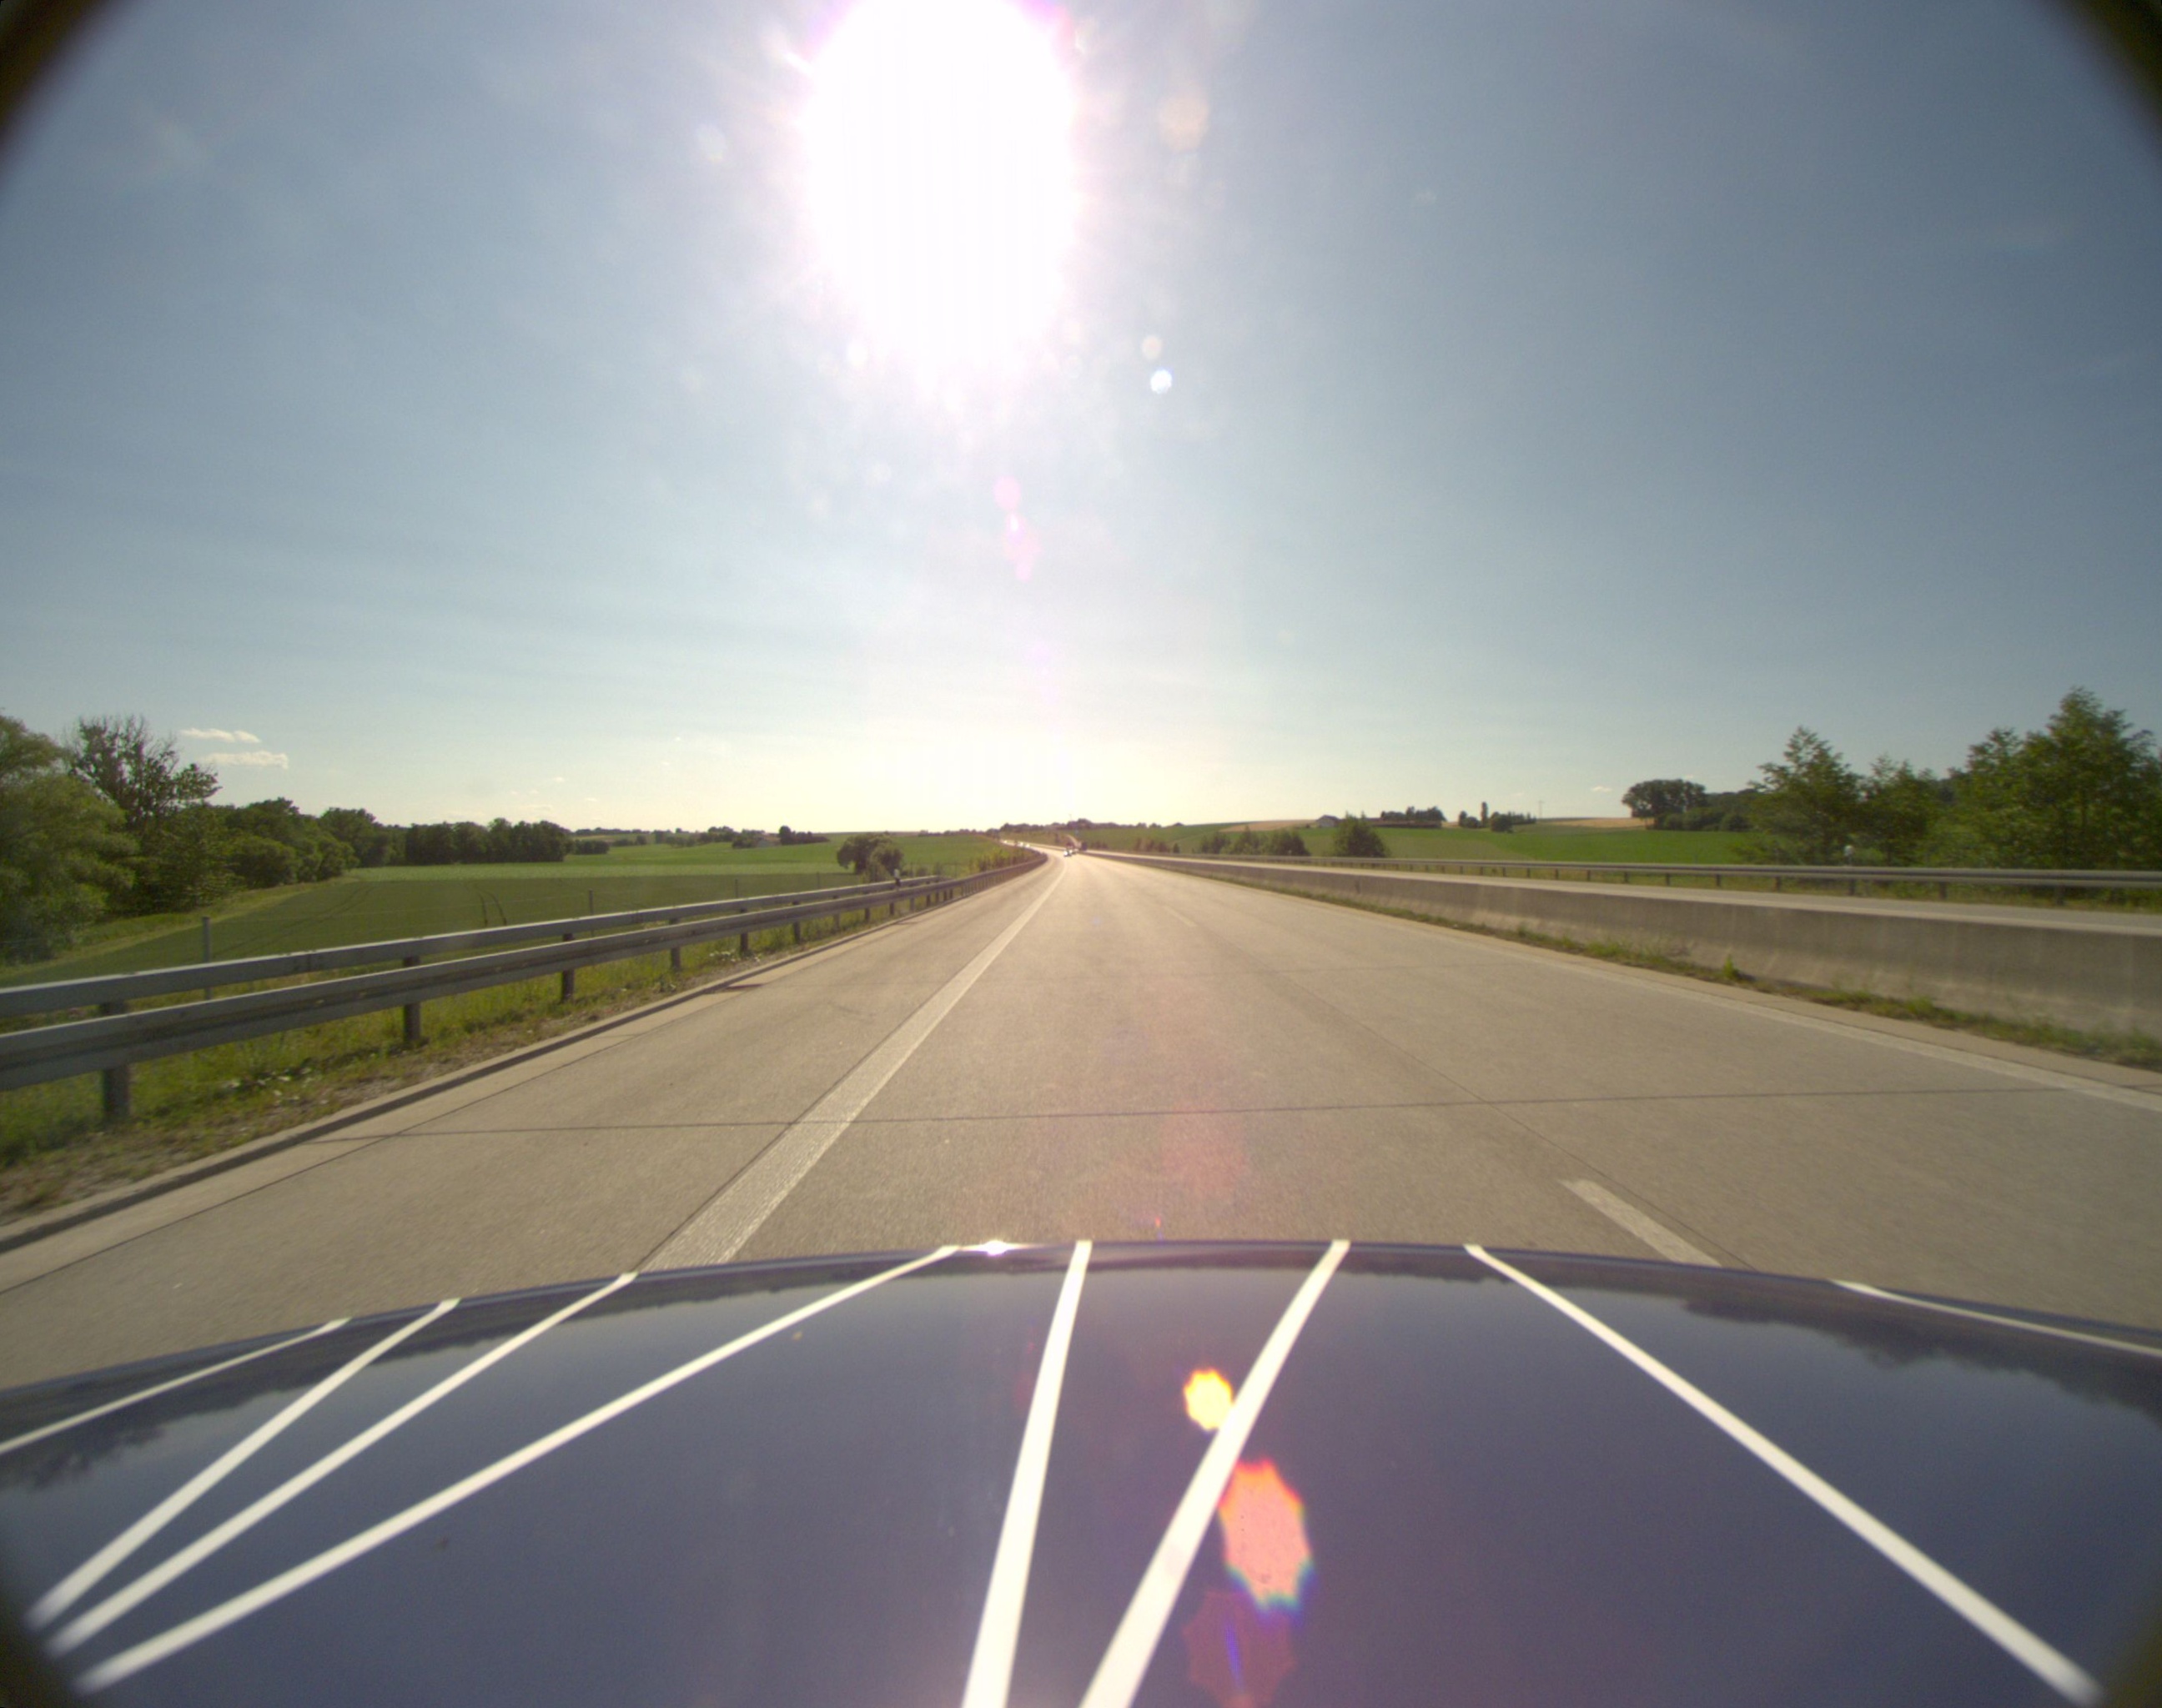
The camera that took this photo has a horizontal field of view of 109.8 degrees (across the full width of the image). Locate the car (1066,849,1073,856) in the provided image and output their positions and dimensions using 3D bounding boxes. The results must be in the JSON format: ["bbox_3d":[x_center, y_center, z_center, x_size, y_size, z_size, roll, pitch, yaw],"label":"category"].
[{"bbox_3d":[-3.020,-0.430,192.667,1.715,1.580,4.625,-2,2,-1],"label":"car"}]

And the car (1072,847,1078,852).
[{"bbox_3d":[-1.864,-1.403,231.536,1.715,1.580,4.625,-2,2,-3],"label":"car"}]
